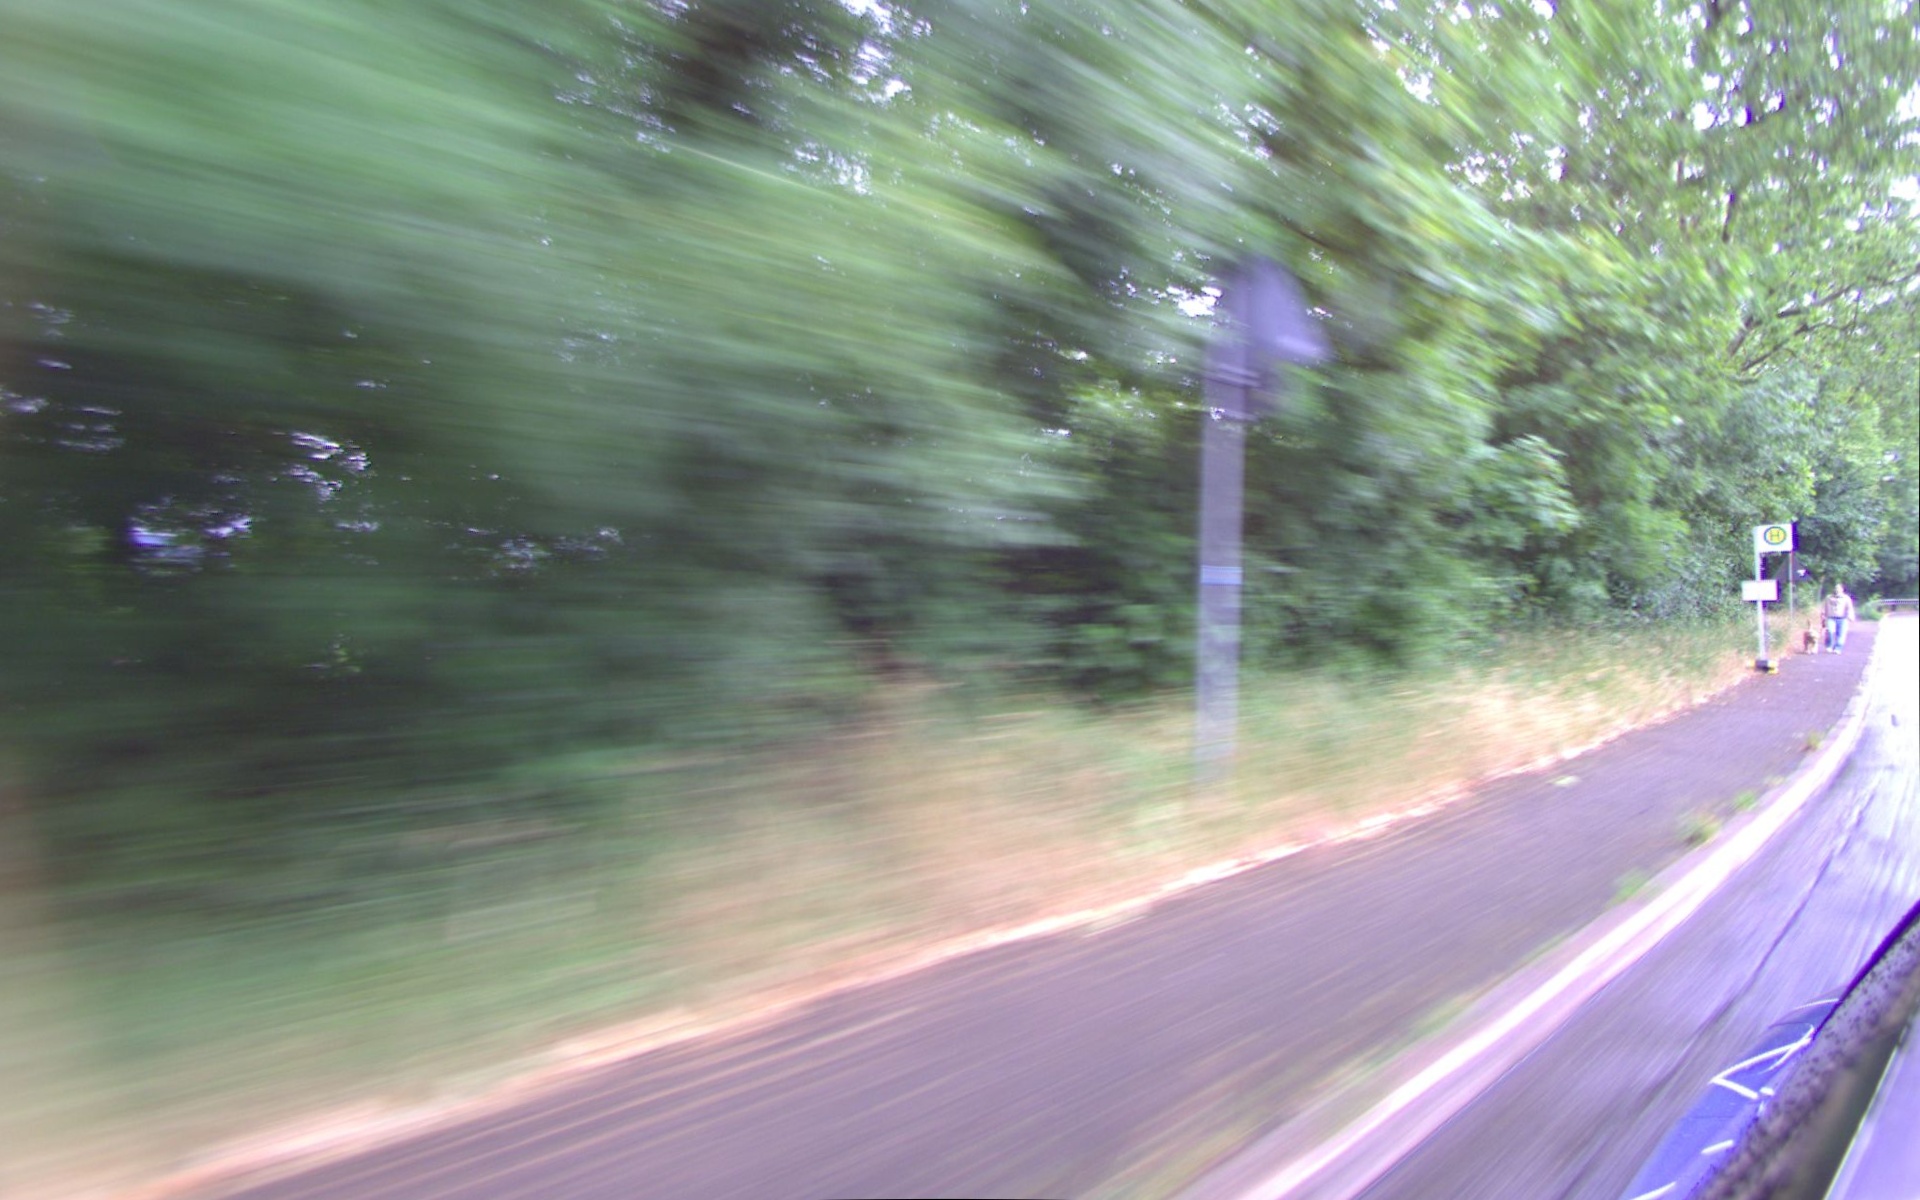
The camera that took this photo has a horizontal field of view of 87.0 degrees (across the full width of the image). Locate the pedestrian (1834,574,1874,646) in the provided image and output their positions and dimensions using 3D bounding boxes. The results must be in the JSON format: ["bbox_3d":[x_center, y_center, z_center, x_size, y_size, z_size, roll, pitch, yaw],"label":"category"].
[{"bbox_3d":[20.706,0.223,23.444,0.642,1.631,0.660,2,2,43],"label":"pedestrian"}]
